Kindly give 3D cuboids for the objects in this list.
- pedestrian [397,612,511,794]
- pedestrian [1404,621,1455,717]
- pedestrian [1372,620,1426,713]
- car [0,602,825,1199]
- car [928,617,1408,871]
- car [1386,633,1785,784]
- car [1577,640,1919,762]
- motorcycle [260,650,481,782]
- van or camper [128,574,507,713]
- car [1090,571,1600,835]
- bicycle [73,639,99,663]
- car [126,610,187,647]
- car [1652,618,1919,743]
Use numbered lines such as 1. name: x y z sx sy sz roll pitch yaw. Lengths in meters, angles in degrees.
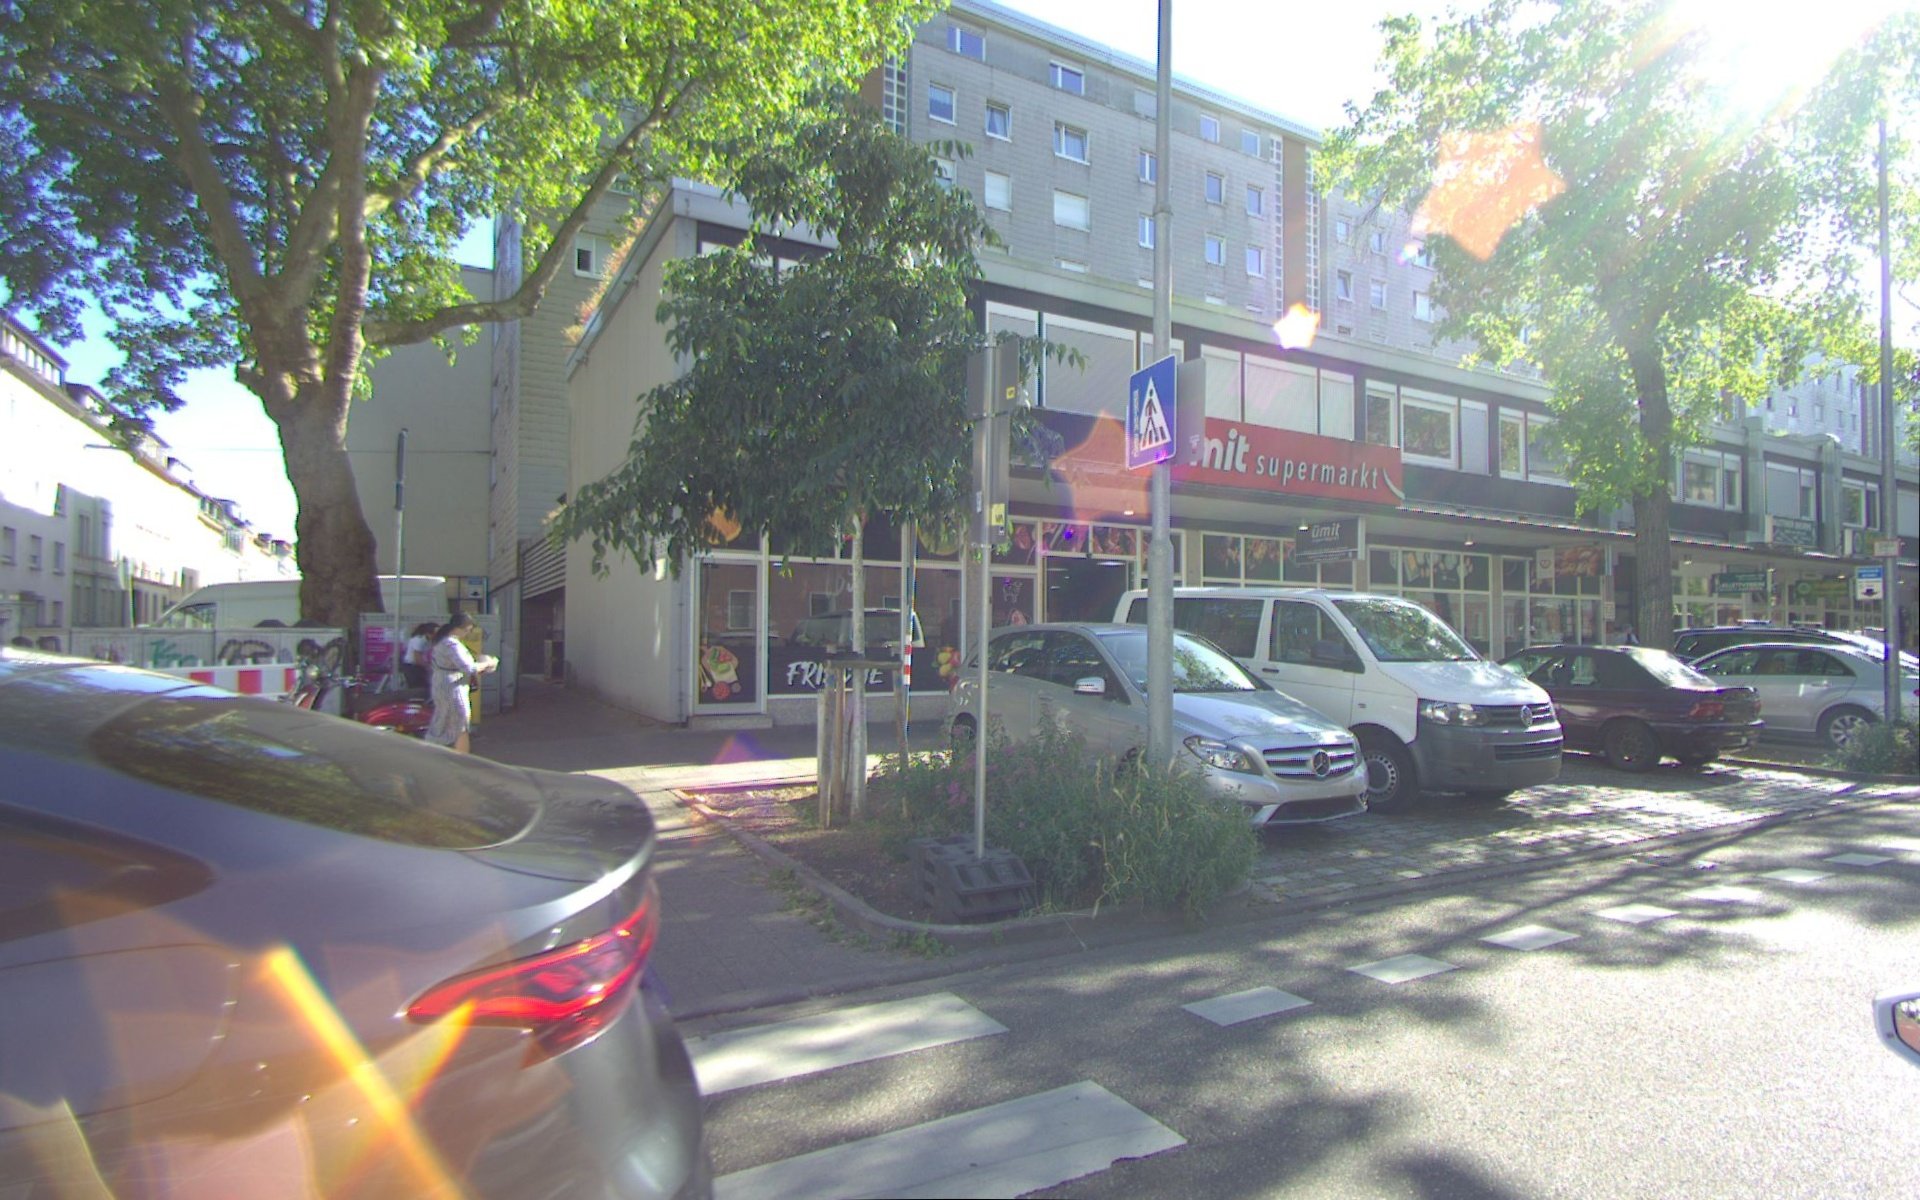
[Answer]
1. pedestrian: -4.748 0.926 9.410 0.838 1.594 0.838 1 -2 -34
2. pedestrian: 8.411 1.224 17.999 0.626 1.673 0.528 1 -3 -29
3. pedestrian: 8.099 1.217 18.542 0.626 1.673 0.627 1 -3 -29
4. car: -2.612 0.758 1.168 4.520 1.472 1.902 1 -4 -28
5. car: 1.477 1.014 8.771 1.737 1.634 4.271 1 -2 -30
6. car: 7.694 1.220 12.772 1.697 1.513 4.011 1 -1 -30
7. car: 12.020 1.371 14.889 1.806 1.513 4.635 1 -2 -30
8. motorcycle: -6.029 1.149 10.384 1.898 1.195 0.665 -1 -1 -29
9. van or camper: -14.084 0.861 22.660 6.842 2.608 1.986 -2 -1 -29
10. car: 3.558 0.827 10.279 1.937 2.033 4.706 1 -1 -31
11. bicycle: -41.771 2.443 48.022 0.484 1.110 1.919 1 -2 -28
12. car: -43.382 1.557 54.333 1.744 1.878 4.297 1 -2 -28
13. car: 14.238 1.234 16.337 1.815 1.828 4.606 1 -2 -30
